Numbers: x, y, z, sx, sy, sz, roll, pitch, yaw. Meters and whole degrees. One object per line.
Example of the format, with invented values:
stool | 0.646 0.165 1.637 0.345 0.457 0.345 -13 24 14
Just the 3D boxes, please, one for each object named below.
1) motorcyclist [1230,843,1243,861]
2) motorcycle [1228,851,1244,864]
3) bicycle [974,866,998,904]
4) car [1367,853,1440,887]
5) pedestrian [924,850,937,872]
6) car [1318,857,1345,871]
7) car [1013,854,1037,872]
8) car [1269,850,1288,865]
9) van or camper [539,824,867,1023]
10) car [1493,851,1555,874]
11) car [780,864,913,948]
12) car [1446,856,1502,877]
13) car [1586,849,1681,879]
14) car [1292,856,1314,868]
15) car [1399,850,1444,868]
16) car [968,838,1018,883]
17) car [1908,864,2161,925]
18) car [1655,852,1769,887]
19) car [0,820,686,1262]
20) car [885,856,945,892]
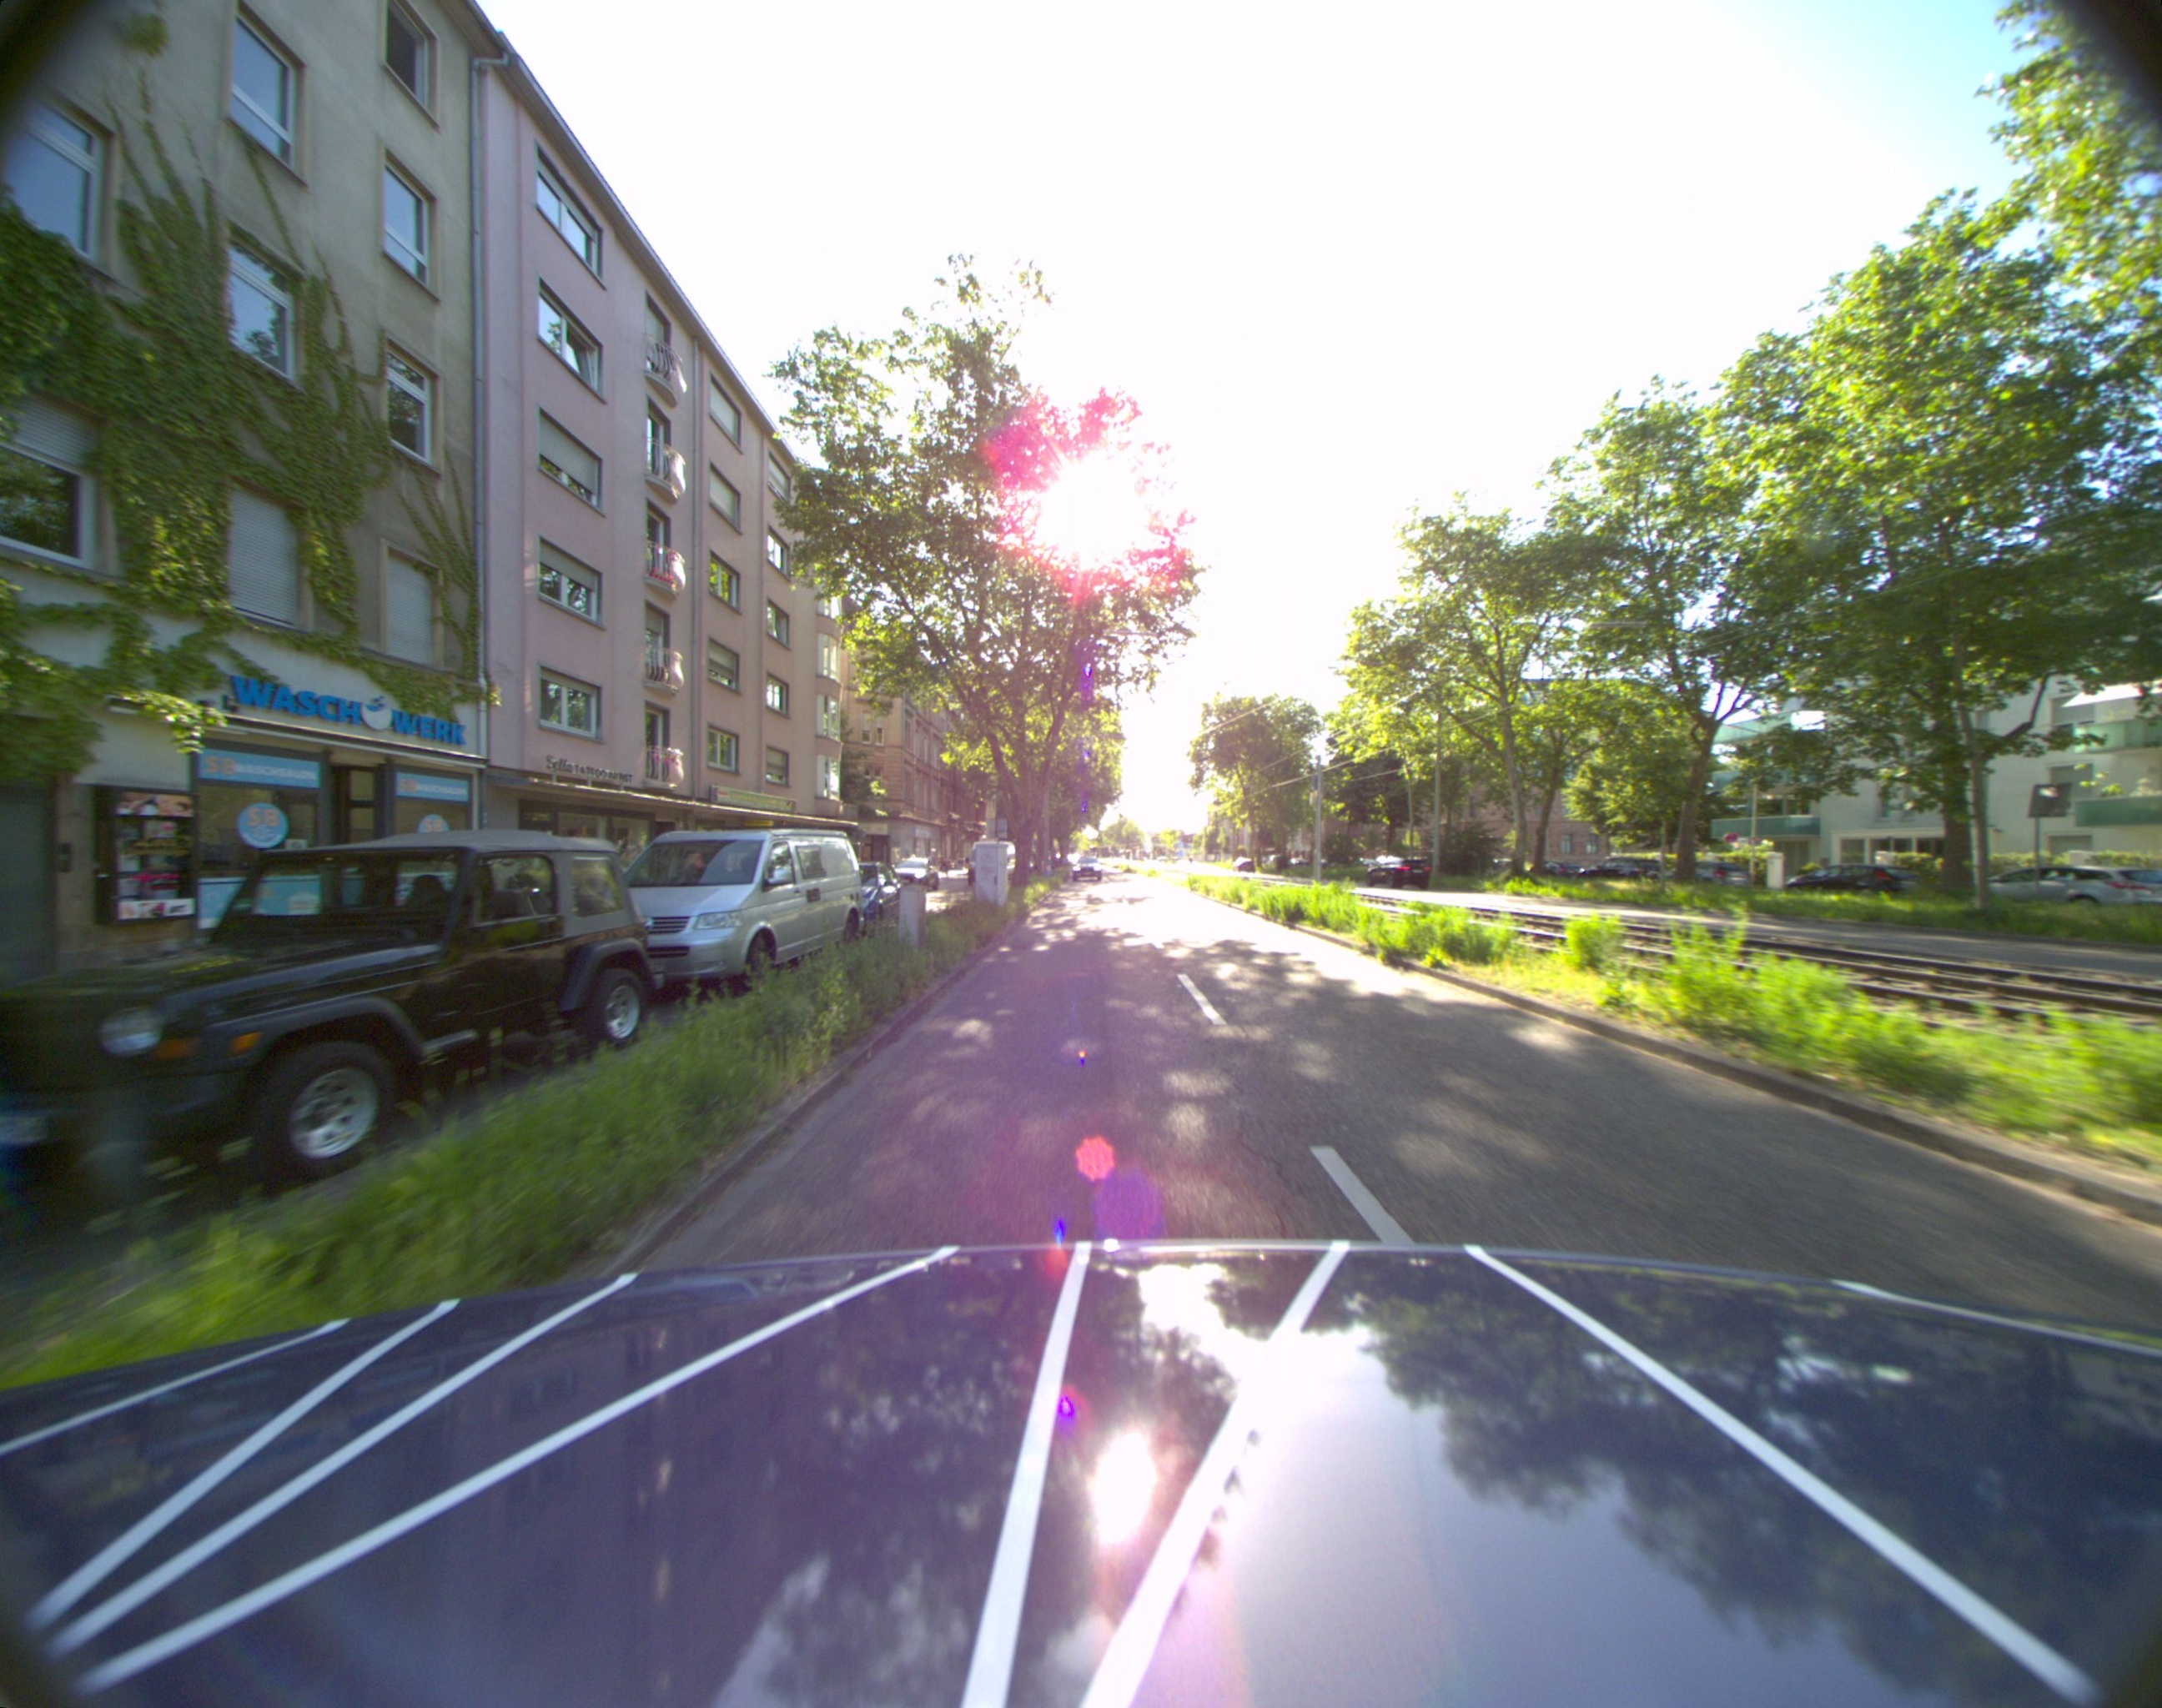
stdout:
motorcyclist | 24.988 -0.271 122.169 1.747 2.905 1.680 0 1 1
motorcycle | 24.962 0.564 122.651 1.729 2.045 3.999 0 0 -1
bicycle | -3.204 1.012 25.684 0.466 1.207 1.751 0 0 4
car | 17.048 0.821 40.432 1.862 1.638 4.460 2 0 -1
pedestrian | -10.577 0.496 53.396 0.738 1.556 0.730 0 0 0
car | 27.889 1.121 84.652 1.771 1.477 3.688 0 0 1
car | -4.704 0.727 64.394 1.752 1.455 4.000 0 0 0
car | 27.563 0.444 106.137 1.998 2.002 4.001 0 0 5
van or camper | -4.523 0.702 10.209 1.889 2.002 5.094 0 0 0
car | 30.523 0.563 52.525 1.998 1.477 4.000 0 0 1
car | -4.632 0.957 15.535 1.594 1.470 3.828 0 0 -1
car | 28.268 0.869 54.801 1.998 1.477 4.000 0 0 1
car | 28.224 0.477 38.996 1.998 1.477 4.000 0 0 1
car | 27.771 0.984 95.115 1.771 1.477 3.688 0 0 1
car | 28.251 0.416 63.215 1.998 1.477 4.000 0 0 1
car | -4.964 0.336 43.743 2.079 2.420 5.856 -1 0 1
car | 28.157 1.116 22.644 1.998 1.582 4.655 0 0 1
car | 28.038 0.638 33.942 1.801 1.464 4.000 0 0 1
car | -4.612 0.739 5.015 1.869 1.753 4.000 0 0 1
car | -7.609 0.873 35.130 1.814 1.592 4.136 0 0 1
